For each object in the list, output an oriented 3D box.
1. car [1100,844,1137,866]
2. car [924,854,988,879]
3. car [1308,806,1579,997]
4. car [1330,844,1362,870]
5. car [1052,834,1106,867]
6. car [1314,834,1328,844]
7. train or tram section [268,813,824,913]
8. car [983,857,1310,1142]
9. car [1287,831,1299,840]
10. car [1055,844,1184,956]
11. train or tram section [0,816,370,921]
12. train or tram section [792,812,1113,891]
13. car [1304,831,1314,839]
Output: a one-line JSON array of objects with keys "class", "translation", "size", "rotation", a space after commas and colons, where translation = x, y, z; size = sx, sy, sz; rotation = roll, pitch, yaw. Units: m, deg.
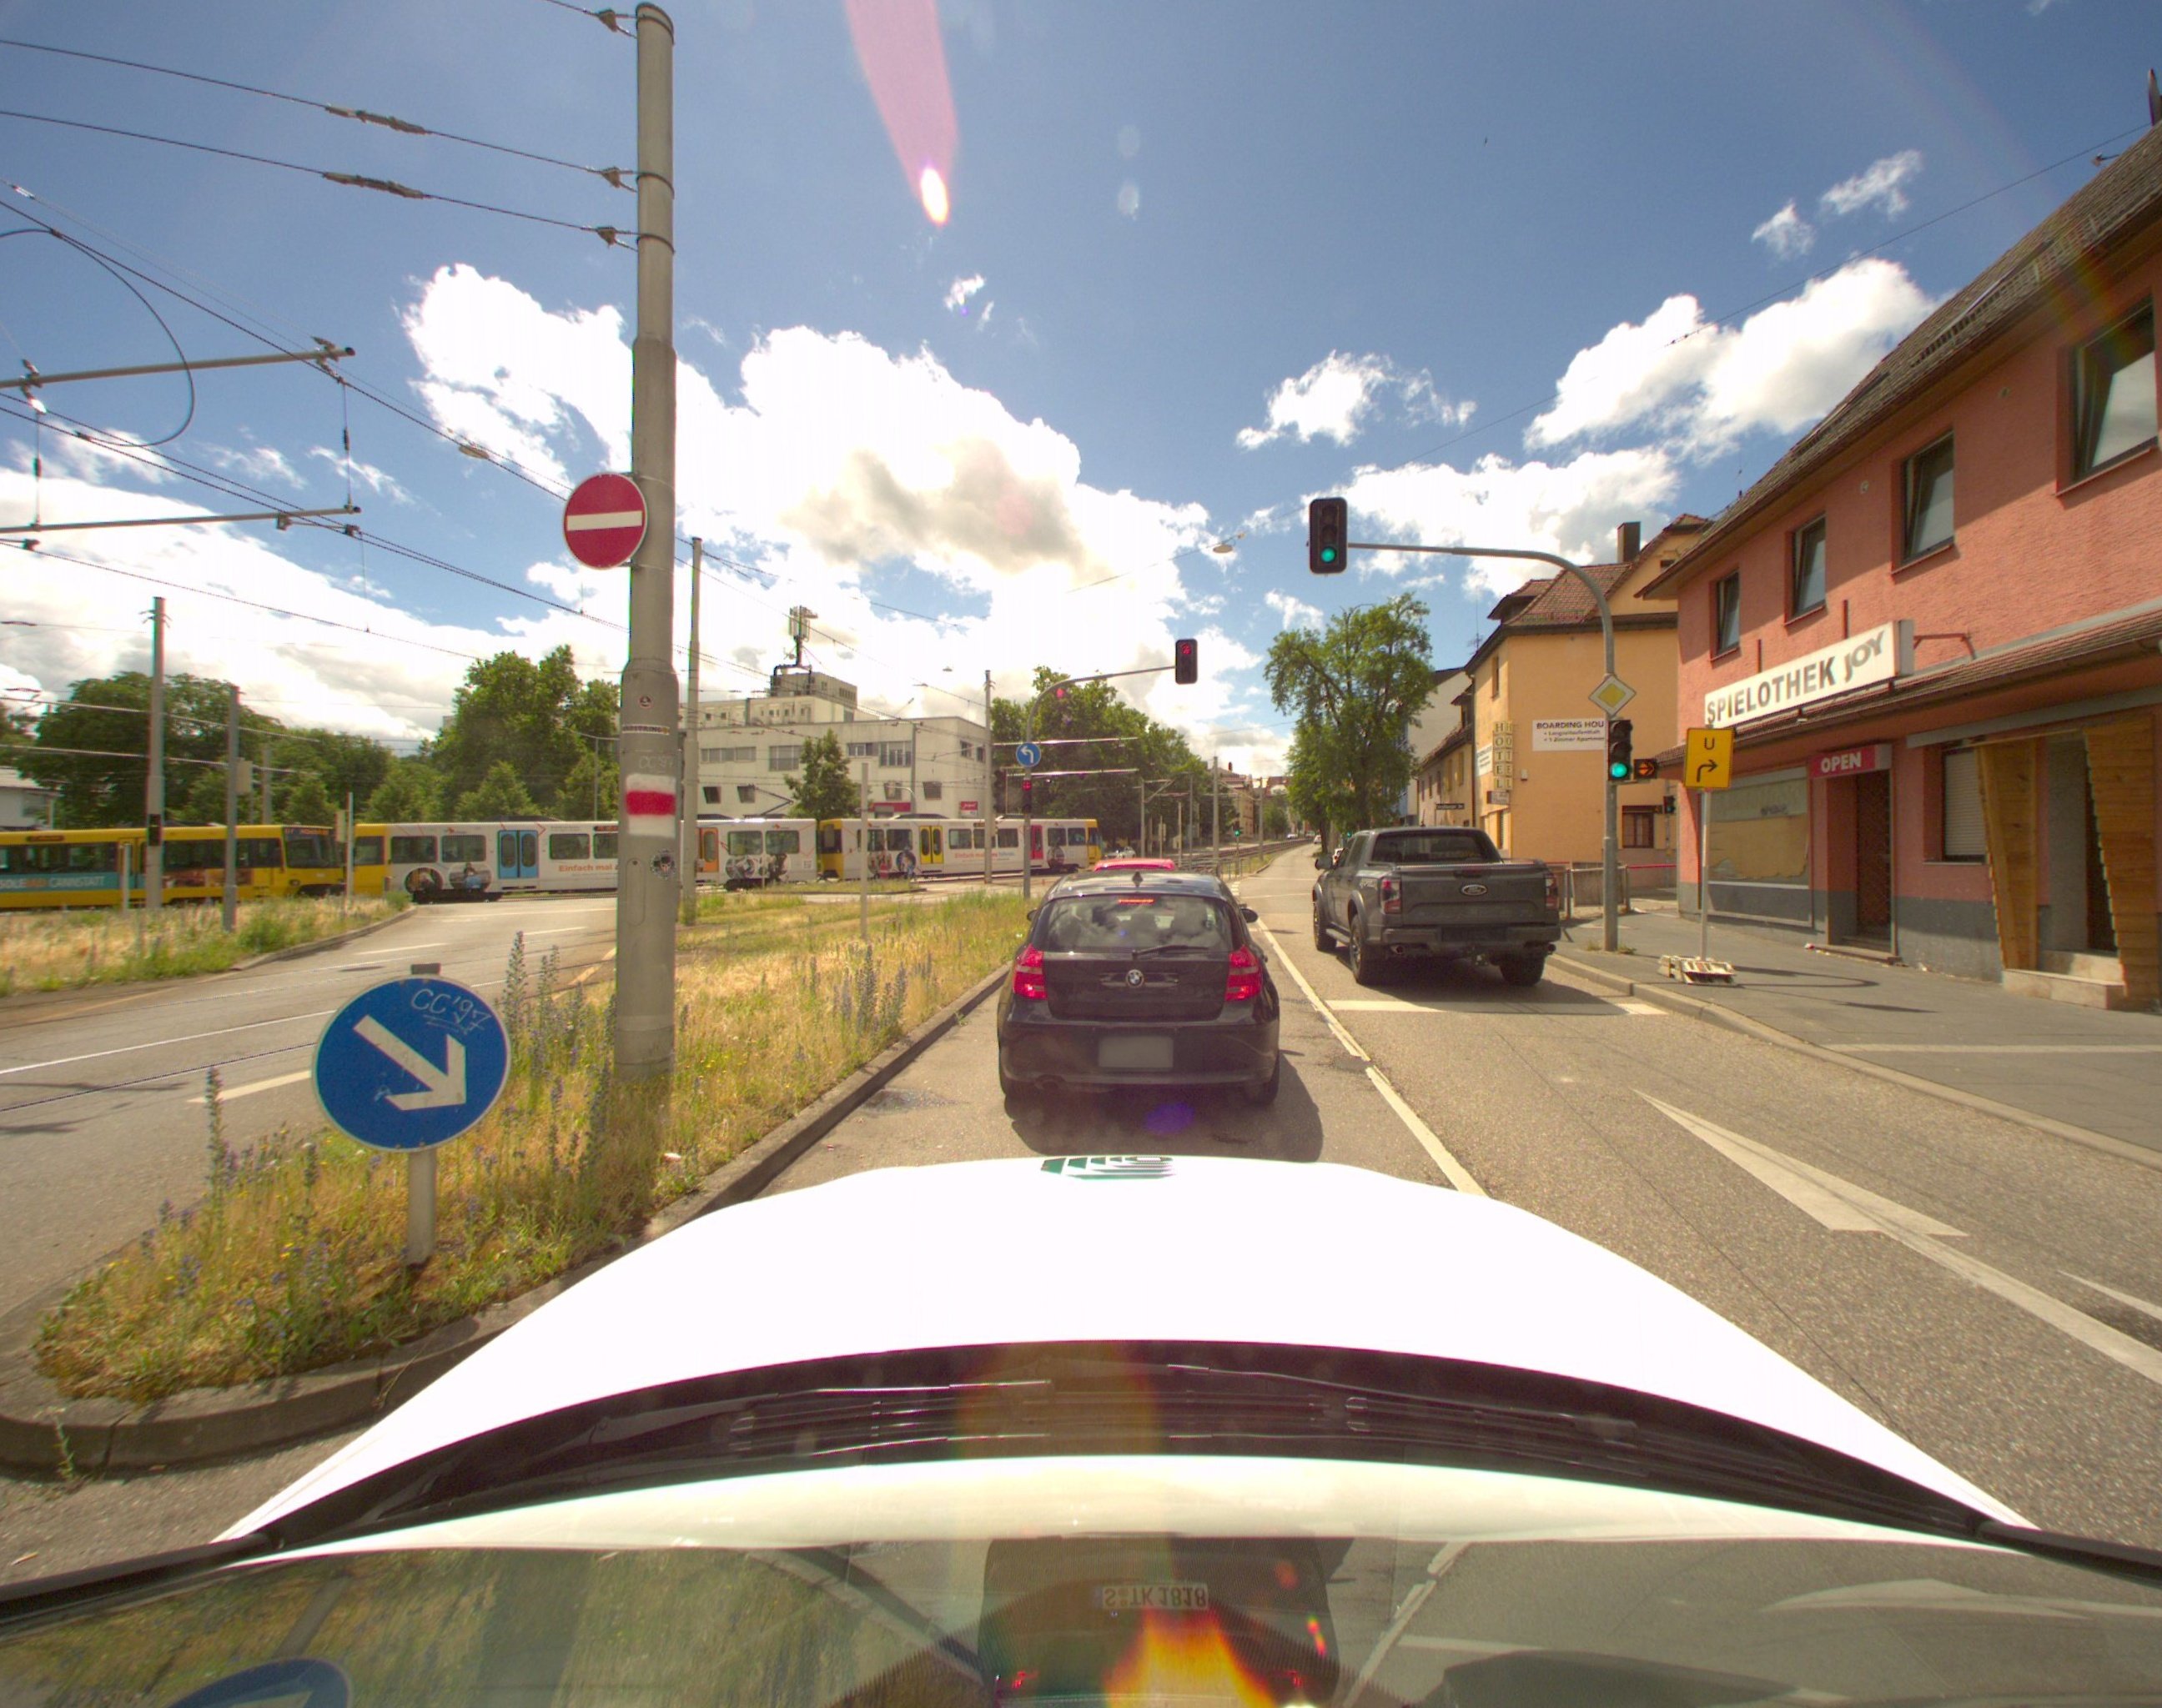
[{"class": "car", "translation": [3.658, 0.107, 78.108], "size": [1.836, 1.928, 4.824], "rotation": [-2, -1, 24]}, {"class": "car", "translation": [-8.816, 0.875, 57.594], "size": [1.835, 1.585, 4.194], "rotation": [-3, -1, 45]}, {"class": "car", "translation": [4.344, 0.522, 10.774], "size": [1.987, 1.887, 5.164], "rotation": [-2, -1, 9]}, {"class": "car", "translation": [18.075, 0.216, 55.668], "size": [1.774, 1.596, 4.016], "rotation": [-2, -1, 15]}, {"class": "car", "translation": [-0.097, -0.255, 70.400], "size": [2.110, 2.654, 5.725], "rotation": [-2, -1, 28]}, {"class": "car", "translation": [40.384, -2.499, 136.952], "size": [1.799, 1.468, 4.021], "rotation": [-1, 0, 21]}, {"class": "train or tram section", "translation": [-22.800, 0.178, 37.438], "size": [20.656, 3.879, 3.732], "rotation": [-1, -1, -23]}, {"class": "car", "translation": [0.339, 0.799, 6.328], "size": [1.696, 1.452, 3.999], "rotation": [-2, -1, 0]}, {"class": "car", "translation": [48.648, -4.264, 186.926], "size": [1.976, 2.014, 4.022], "rotation": [-2, -1, 23]}, {"class": "car", "translation": [0.753, 0.645, 12.936], "size": [1.616, 1.473, 4.009], "rotation": [-2, -1, 8]}, {"class": "train or tram section", "translation": [-41.381, 0.728, 34.048], "size": [20.014, 3.829, 3.761], "rotation": [-2, -1, 0]}, {"class": "train or tram section", "translation": [-6.461, -0.164, 48.042], "size": [20.165, 3.814, 3.715], "rotation": [-1, -1, -44]}, {"class": "car", "translation": [57.685, -4.806, 206.031], "size": [1.976, 2.014, 4.022], "rotation": [-2, -1, 23]}]
